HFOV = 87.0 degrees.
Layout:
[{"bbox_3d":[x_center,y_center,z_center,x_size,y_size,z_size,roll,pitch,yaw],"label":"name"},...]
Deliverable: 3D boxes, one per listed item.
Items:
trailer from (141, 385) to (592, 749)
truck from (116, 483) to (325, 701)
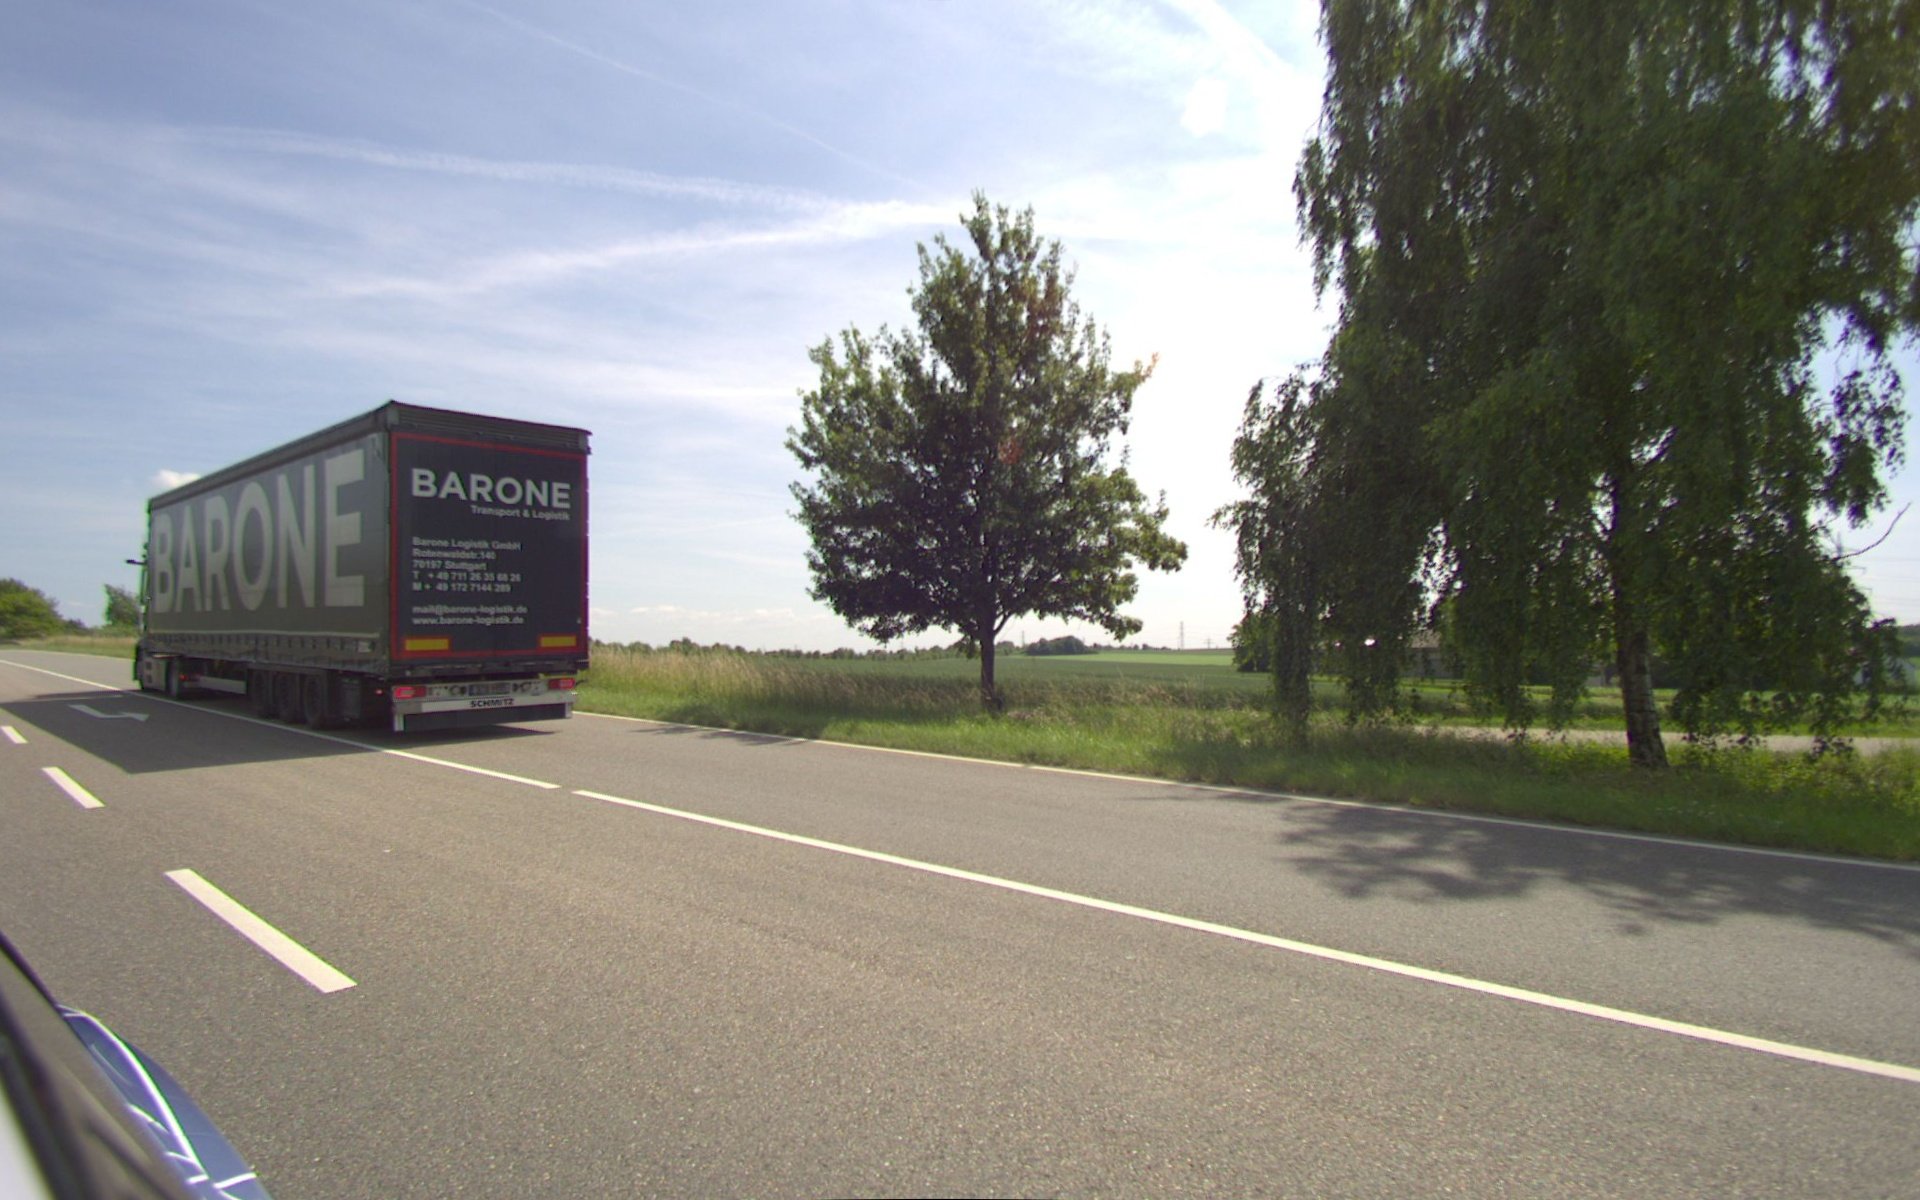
[{"bbox_3d":[-10.867,-0.225,17.178,13.737,4.174,2.565,-2,-2,42],"label":"trailer"},{"bbox_3d":[-16.139,-0.087,21.969,5.440,4.135,2.557,-2,-2,42],"label":"truck"}]
